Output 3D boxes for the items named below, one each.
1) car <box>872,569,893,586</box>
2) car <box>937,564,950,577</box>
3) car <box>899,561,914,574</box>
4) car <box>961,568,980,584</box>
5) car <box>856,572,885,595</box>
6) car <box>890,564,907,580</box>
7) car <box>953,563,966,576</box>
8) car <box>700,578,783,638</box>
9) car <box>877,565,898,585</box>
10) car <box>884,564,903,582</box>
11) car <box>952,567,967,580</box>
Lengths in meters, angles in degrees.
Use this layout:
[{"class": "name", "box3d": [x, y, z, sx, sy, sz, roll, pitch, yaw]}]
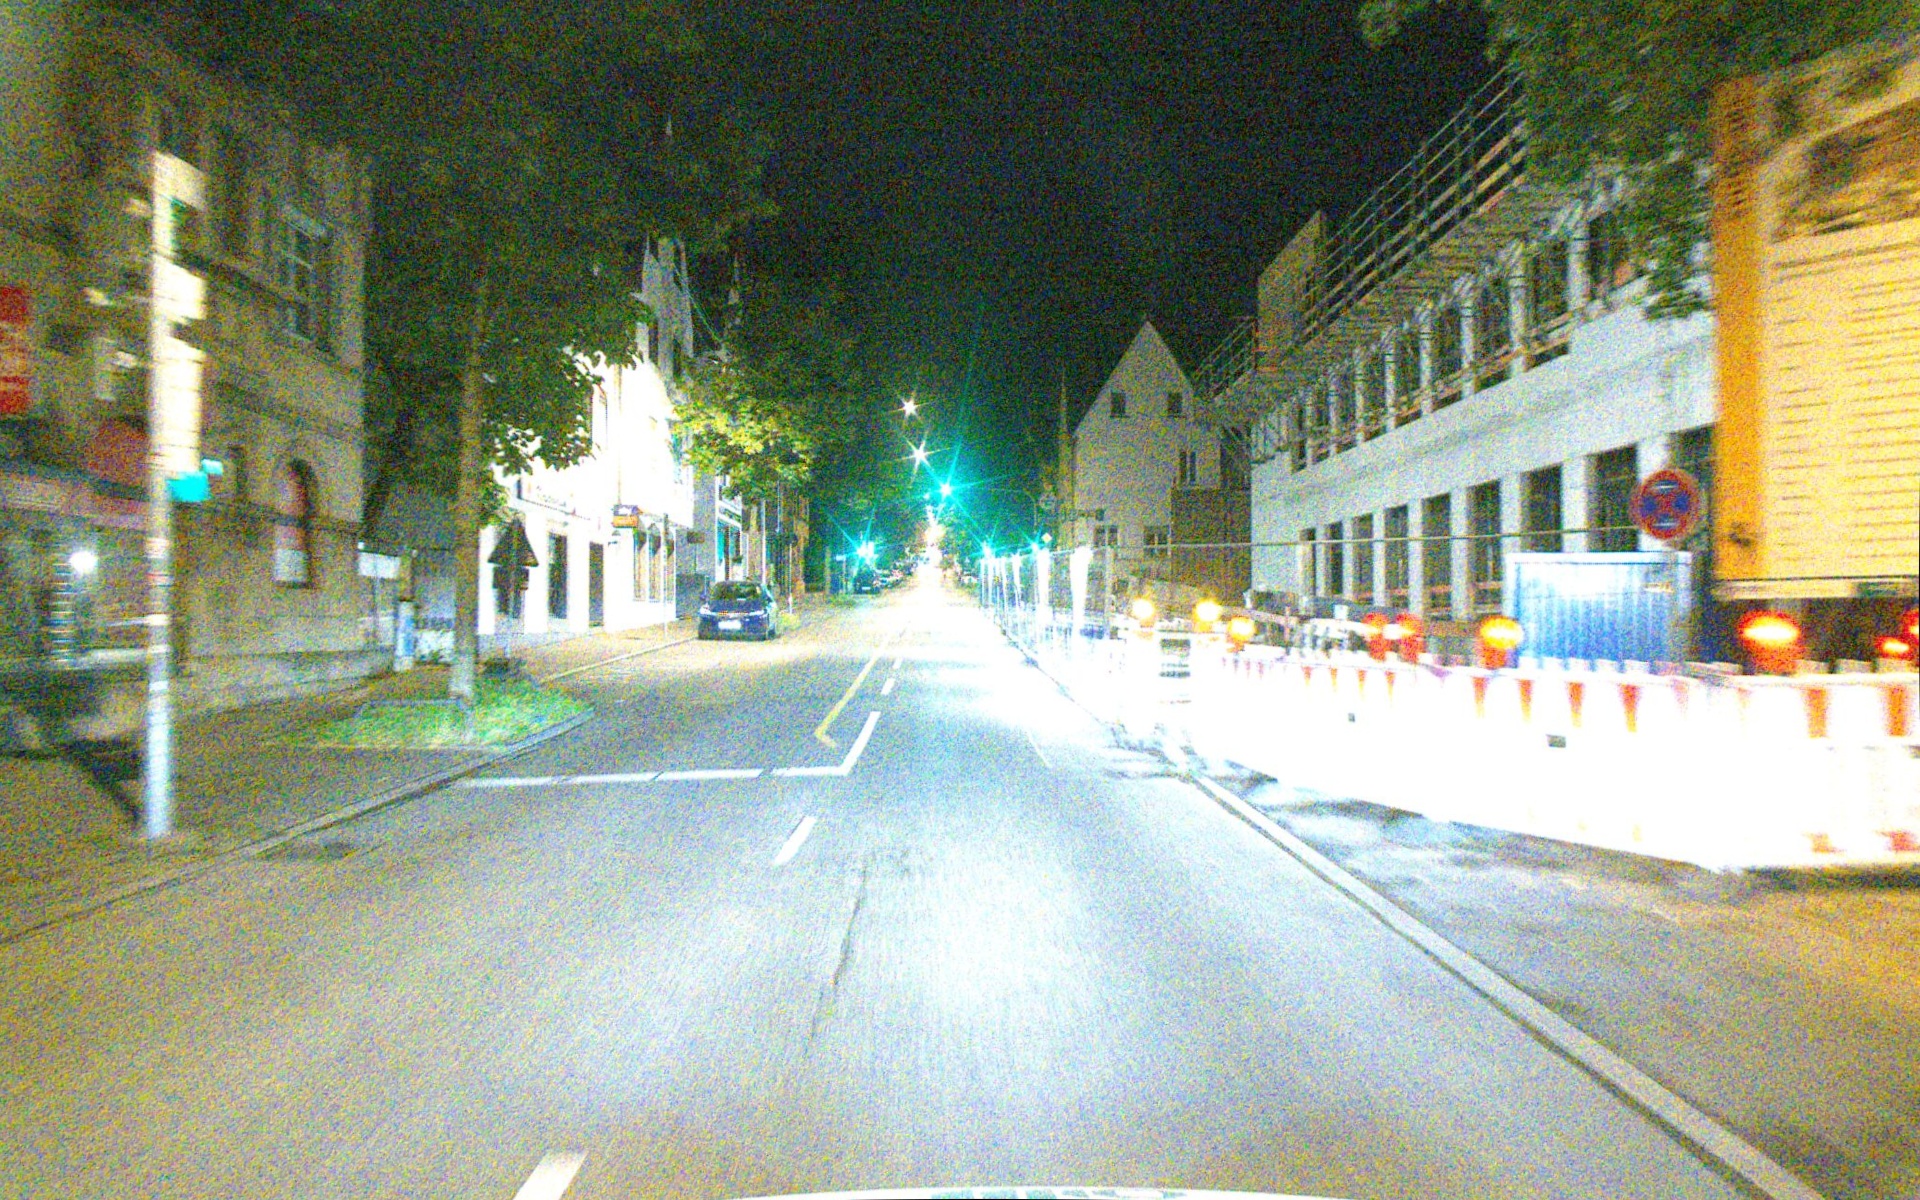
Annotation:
[{"class": "car", "box3d": [-7.104, -2.058, 152.013, 1.835, 1.571, 4.204, 0, 1, -1]}, {"class": "car", "box3d": [-2.333, -4.210, 233.275, 1.835, 1.846, 4.205, 0, 1, 0]}, {"class": "car", "box3d": [-7.802, -4.793, 242.655, 2.035, 1.846, 4.205, 0, 1, 0]}, {"class": "car", "box3d": [1.049, -2.381, 165.357, 1.835, 1.571, 4.204, 0, 1, -1]}, {"class": "car", "box3d": [-6.207, -1.153, 114.797, 1.835, 1.571, 4.204, 0, 1, -1]}, {"class": "car", "box3d": [-7.255, -3.288, 194.447, 1.835, 1.846, 4.205, 0, 1, 0]}, {"class": "car", "box3d": [-0.058, -4.702, 252.838, 1.835, 1.940, 4.204, 0, 1, -1]}, {"class": "car", "box3d": [-5.607, 0.173, 42.772, 1.637, 1.468, 4.204, 0, 1, -1]}, {"class": "car", "box3d": [-6.937, -2.374, 158.202, 1.835, 1.846, 4.204, 0, 1, -1]}, {"class": "car", "box3d": [-7.080, -2.910, 176.496, 1.835, 1.846, 4.204, 0, 1, -1]}, {"class": "car", "box3d": [-0.042, -3.253, 204.285, 1.835, 1.571, 4.204, 0, 1, -1]}]
